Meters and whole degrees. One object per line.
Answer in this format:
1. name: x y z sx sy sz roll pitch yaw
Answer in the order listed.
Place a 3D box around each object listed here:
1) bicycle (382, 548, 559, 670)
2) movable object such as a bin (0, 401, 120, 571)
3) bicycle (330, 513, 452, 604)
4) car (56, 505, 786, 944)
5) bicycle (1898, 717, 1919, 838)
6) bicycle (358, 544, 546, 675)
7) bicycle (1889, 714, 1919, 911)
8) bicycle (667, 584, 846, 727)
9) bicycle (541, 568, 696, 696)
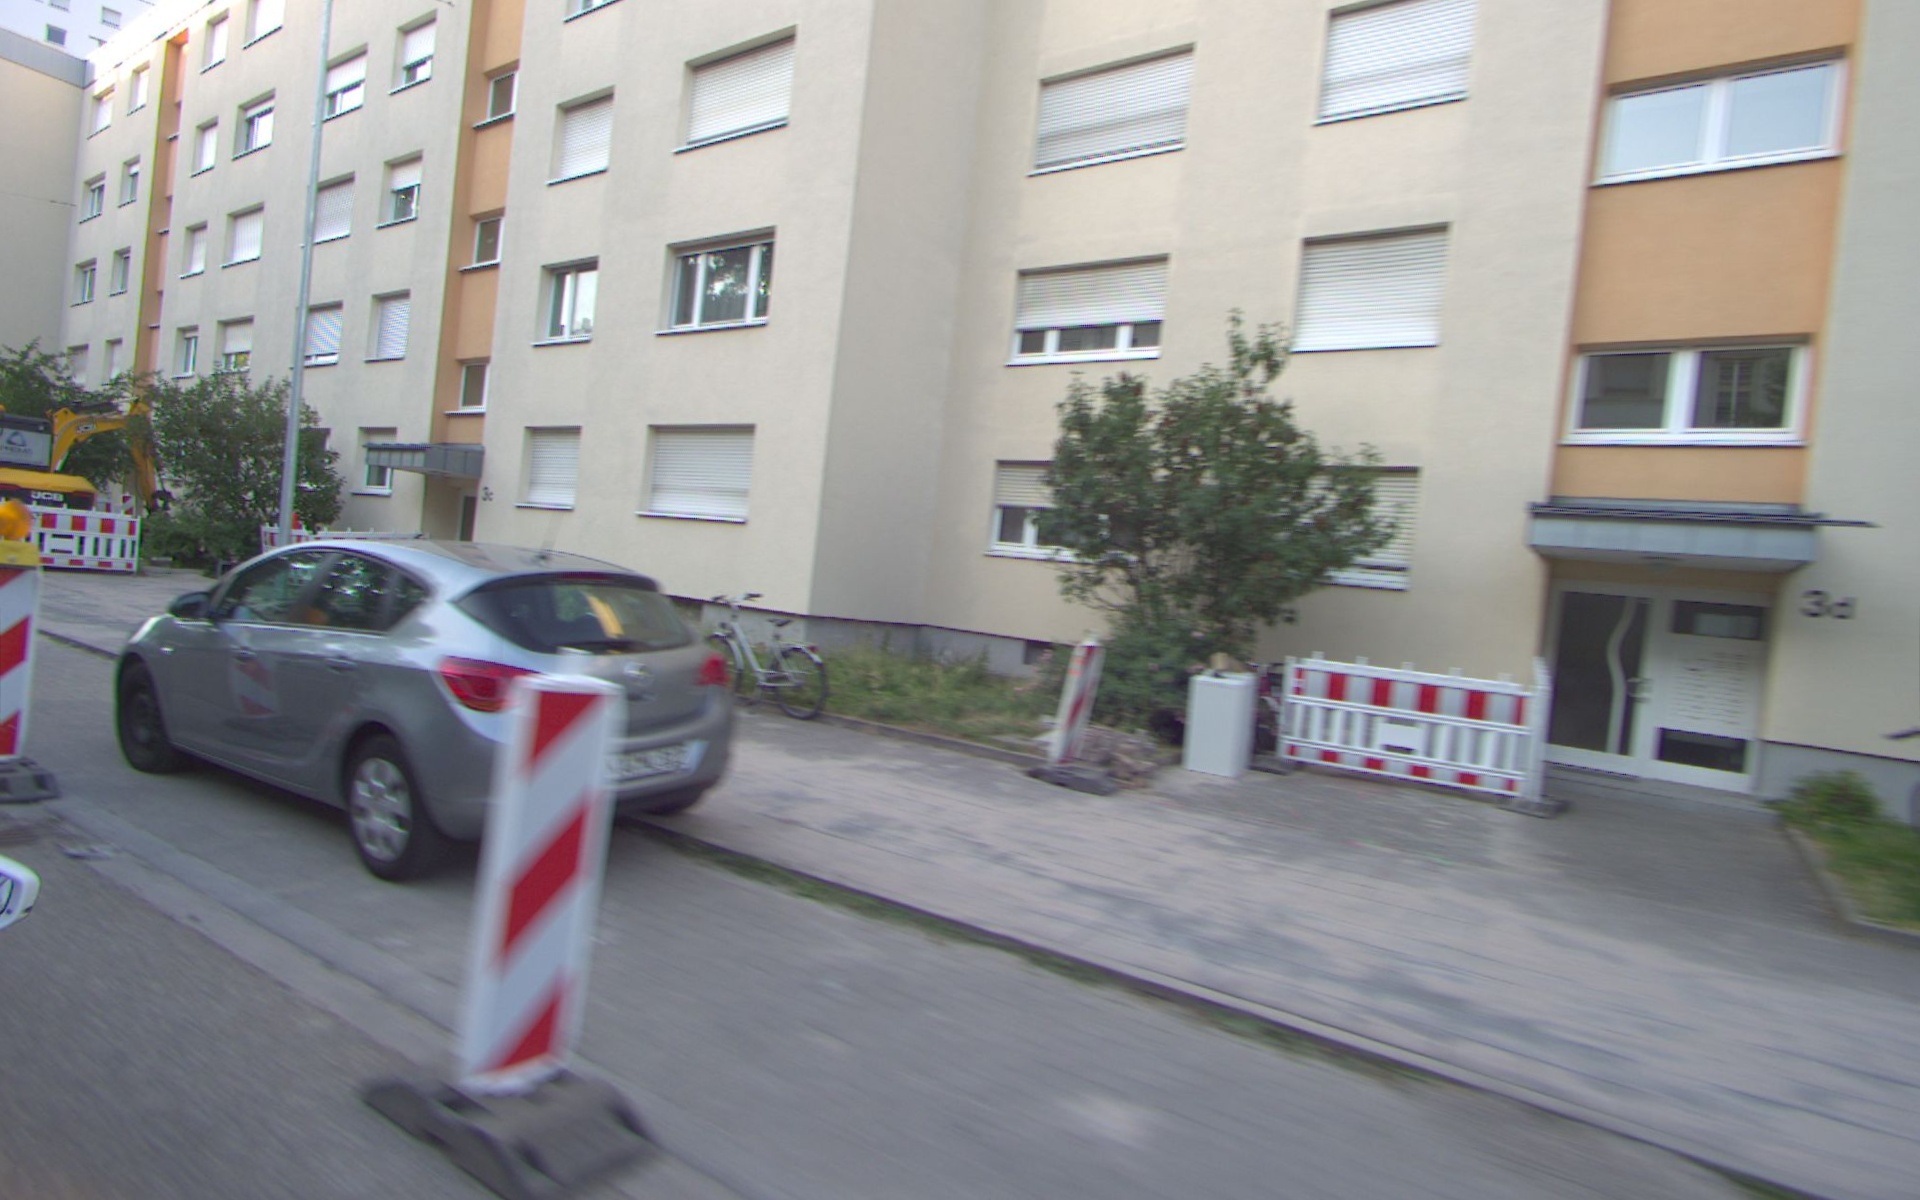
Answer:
1. bicycle: -5.710 0.100 11.738 1.782 1.186 0.628 7 1 15
2. movable object such as a bin: -17.181 -2.096 18.454 2.847 2.727 1.933 7 1 36
3. bicycle: -8.977 -0.631 15.924 0.476 1.237 1.596 7 0 25
4. car: -3.329 0.381 5.860 4.498 1.512 1.775 7 4 33
5. bicycle: 7.956 1.471 7.181 0.548 0.934 1.811 3 4 -9
6. bicycle: -5.559 0.099 11.034 1.782 1.186 0.558 7 1 12
7. bicycle: 6.391 1.344 6.400 0.550 1.001 1.747 7 5 40
8. bicycle: -2.058 0.529 10.069 1.788 1.186 0.556 7 1 34
9. bicycle: -3.785 0.334 11.088 1.788 1.186 0.556 7 1 34
